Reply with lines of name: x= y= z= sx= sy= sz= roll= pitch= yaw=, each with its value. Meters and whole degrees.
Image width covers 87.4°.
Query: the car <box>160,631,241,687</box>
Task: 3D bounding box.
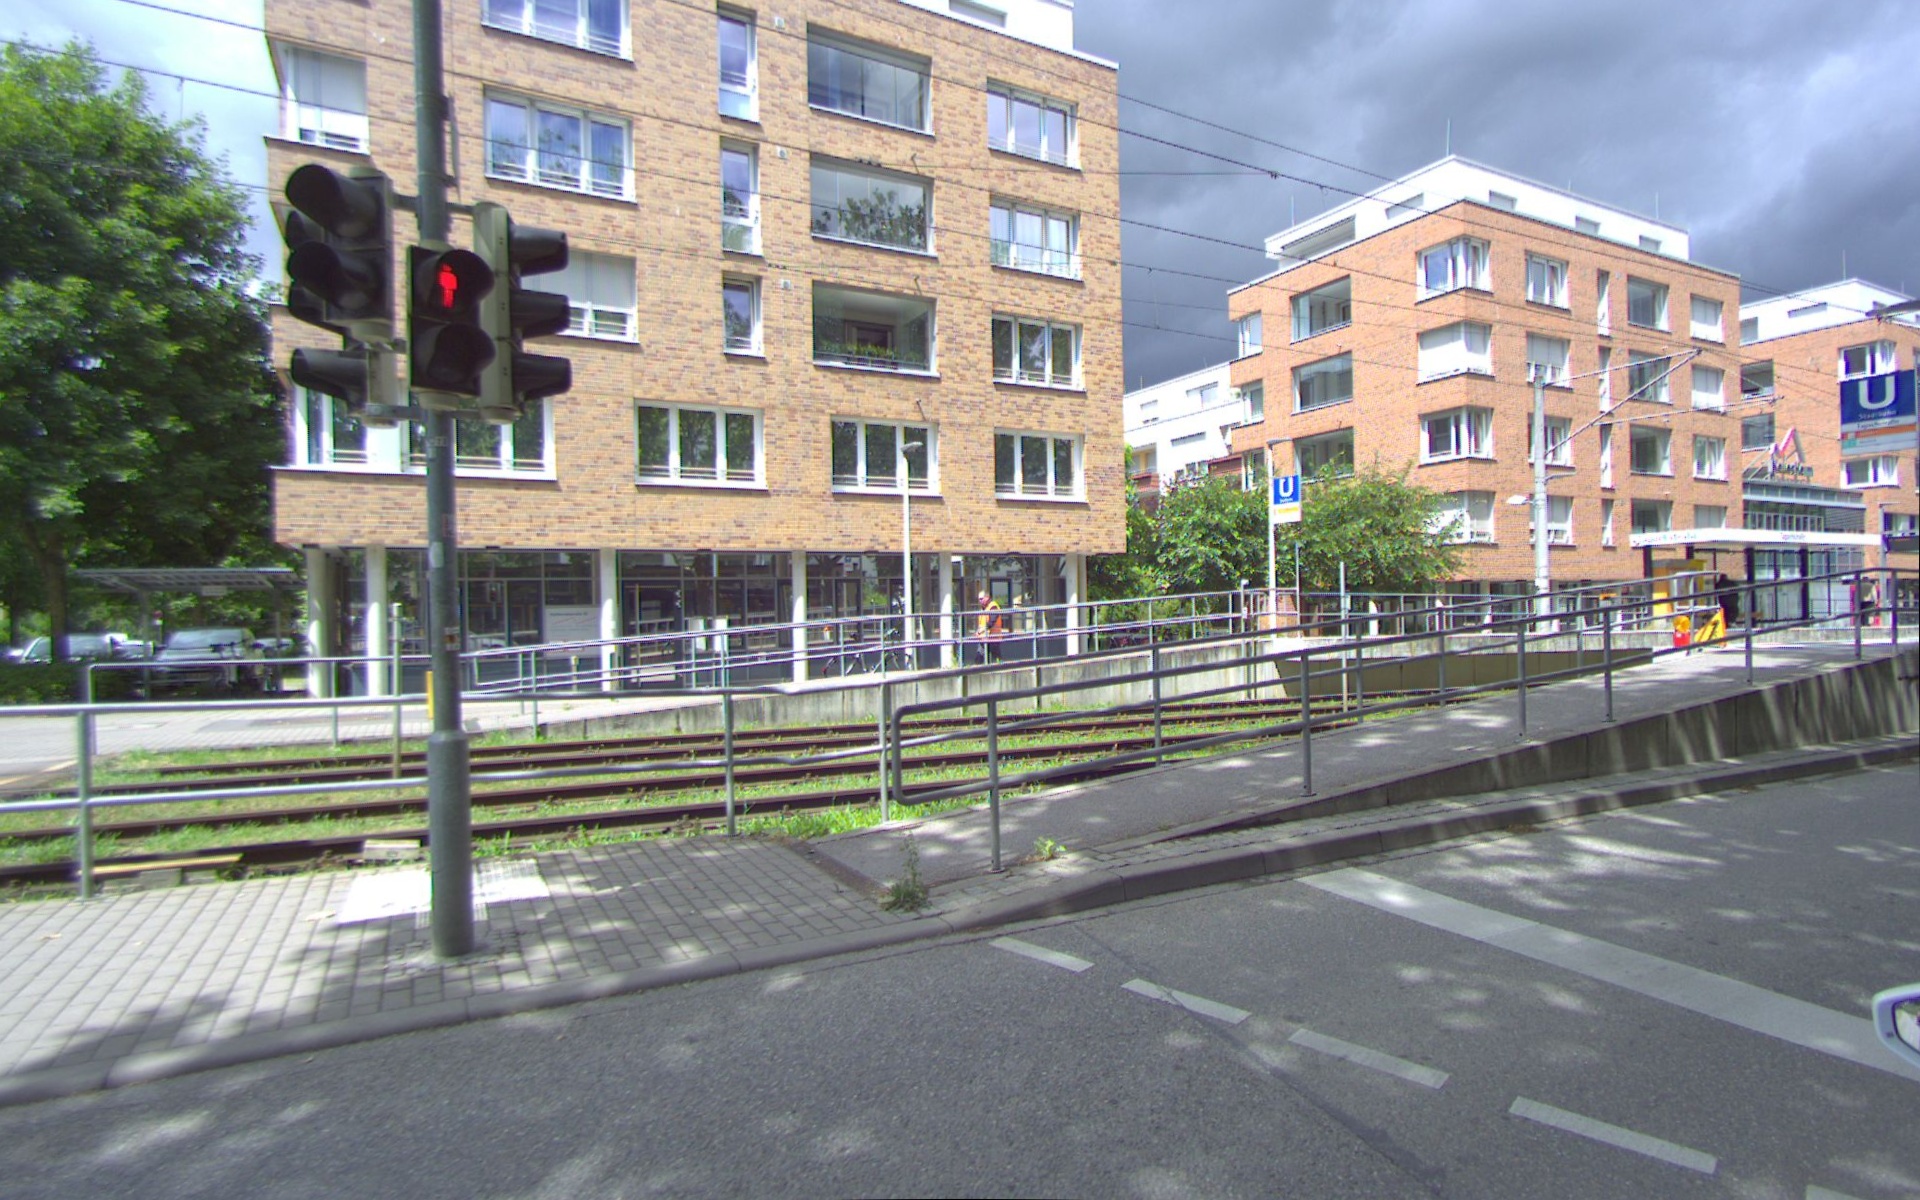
car: x=-16.670 y=1.272 z=22.121 sx=1.135 sy=1.134 sz=2.640 roll=0 pitch=-2 yaw=-31

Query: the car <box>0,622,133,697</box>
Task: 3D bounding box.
car: x=-18.704 y=1.189 z=21.068 sx=1.576 sy=1.418 sz=3.513 roll=0 pitch=-1 yaw=-31

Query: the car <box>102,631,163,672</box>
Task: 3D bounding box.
car: x=-41.182 y=2.517 z=50.066 sx=1.772 sy=1.947 sz=4.027 roll=0 pitch=-1 yaw=-32

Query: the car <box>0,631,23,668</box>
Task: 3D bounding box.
car: x=-46.134 y=2.297 z=46.328 sx=4.073 sy=1.576 sz=1.841 roll=1 pitch=1 yaw=-37

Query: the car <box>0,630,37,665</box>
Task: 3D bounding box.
car: x=-47.833 y=2.311 z=48.867 sx=4.073 sy=1.576 sz=1.841 roll=1 pitch=1 yaw=-37

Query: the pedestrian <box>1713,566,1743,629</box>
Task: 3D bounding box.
pedestrian: x=21.729 y=-0.064 z=28.425 sx=0.522 sy=1.787 sz=0.531 roll=0 pitch=-1 yaw=-32

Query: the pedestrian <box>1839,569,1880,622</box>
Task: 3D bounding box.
pedestrian: x=28.670 y=-0.138 z=32.016 sx=0.806 sy=1.650 sz=0.748 roll=0 pitch=1 yaw=-29

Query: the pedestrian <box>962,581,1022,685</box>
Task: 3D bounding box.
pedestrian: x=0.577 y=0.588 z=18.345 sx=0.819 sy=1.849 sz=0.740 roll=-1 pitch=0 yaw=-30
